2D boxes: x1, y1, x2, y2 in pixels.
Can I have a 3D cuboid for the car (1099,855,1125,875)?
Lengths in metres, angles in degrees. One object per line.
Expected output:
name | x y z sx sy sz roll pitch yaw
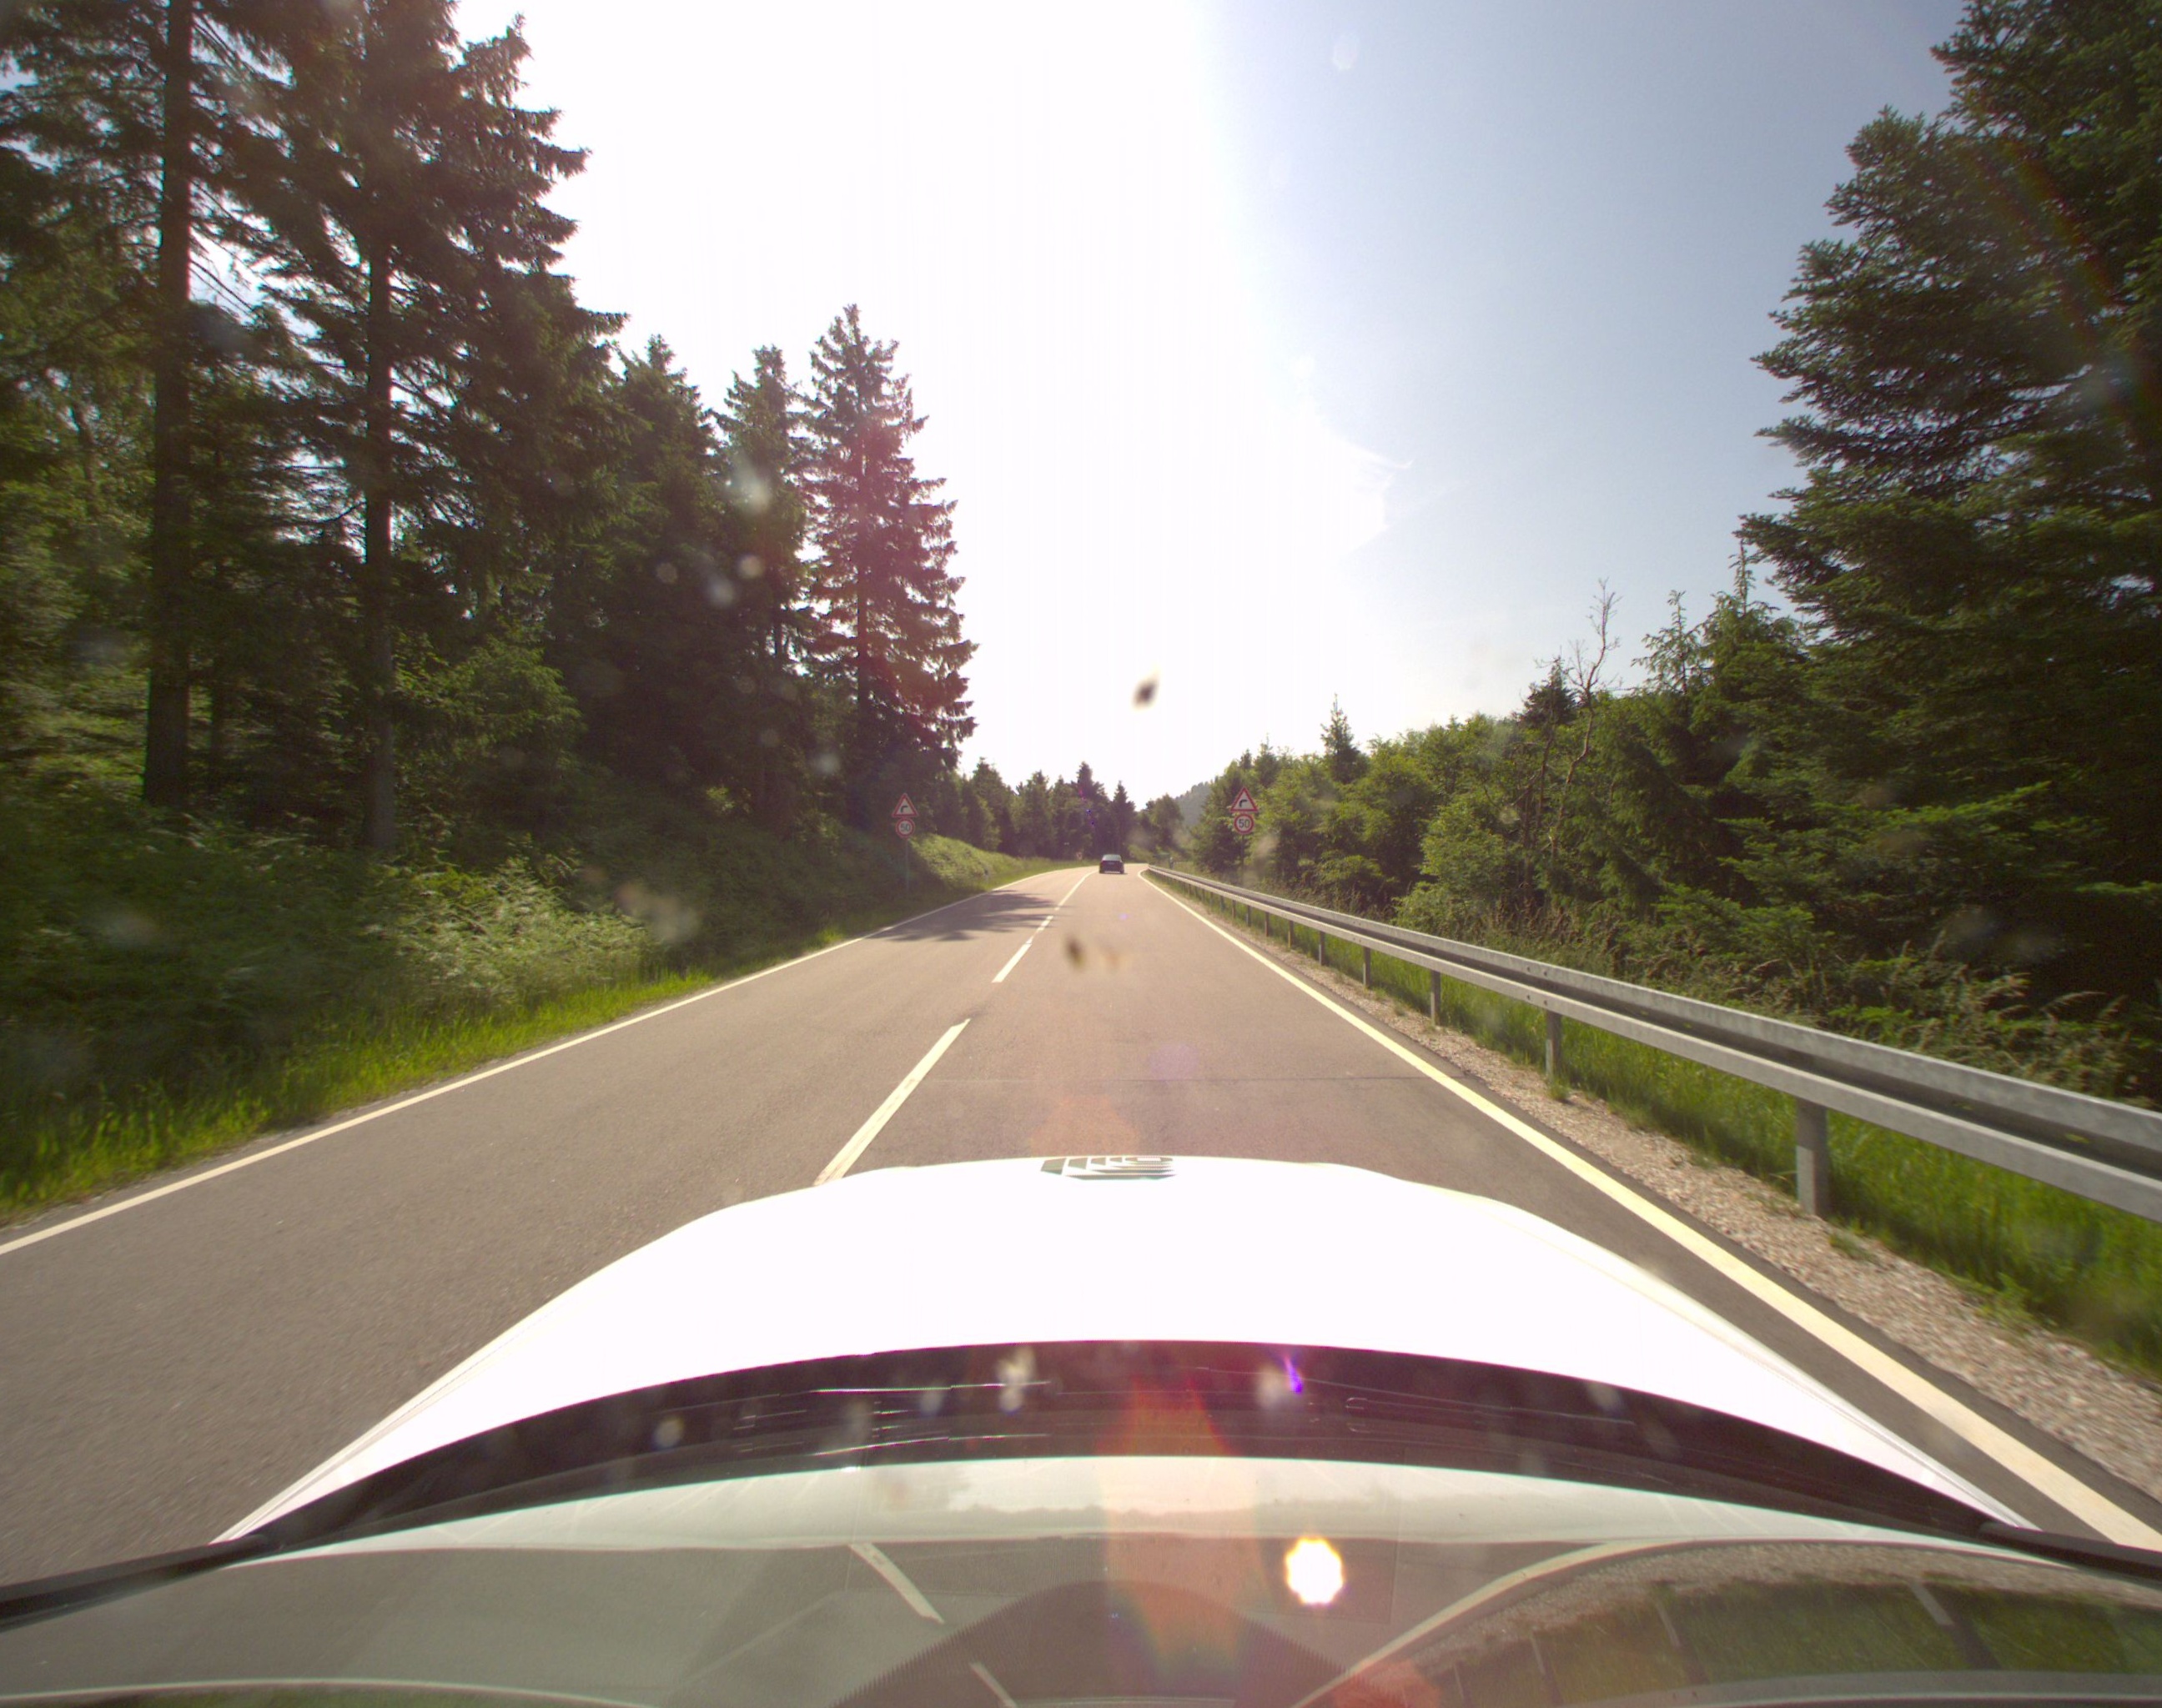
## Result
car | 2.366 0.799 61.618 1.768 1.442 3.713 1 0 4
